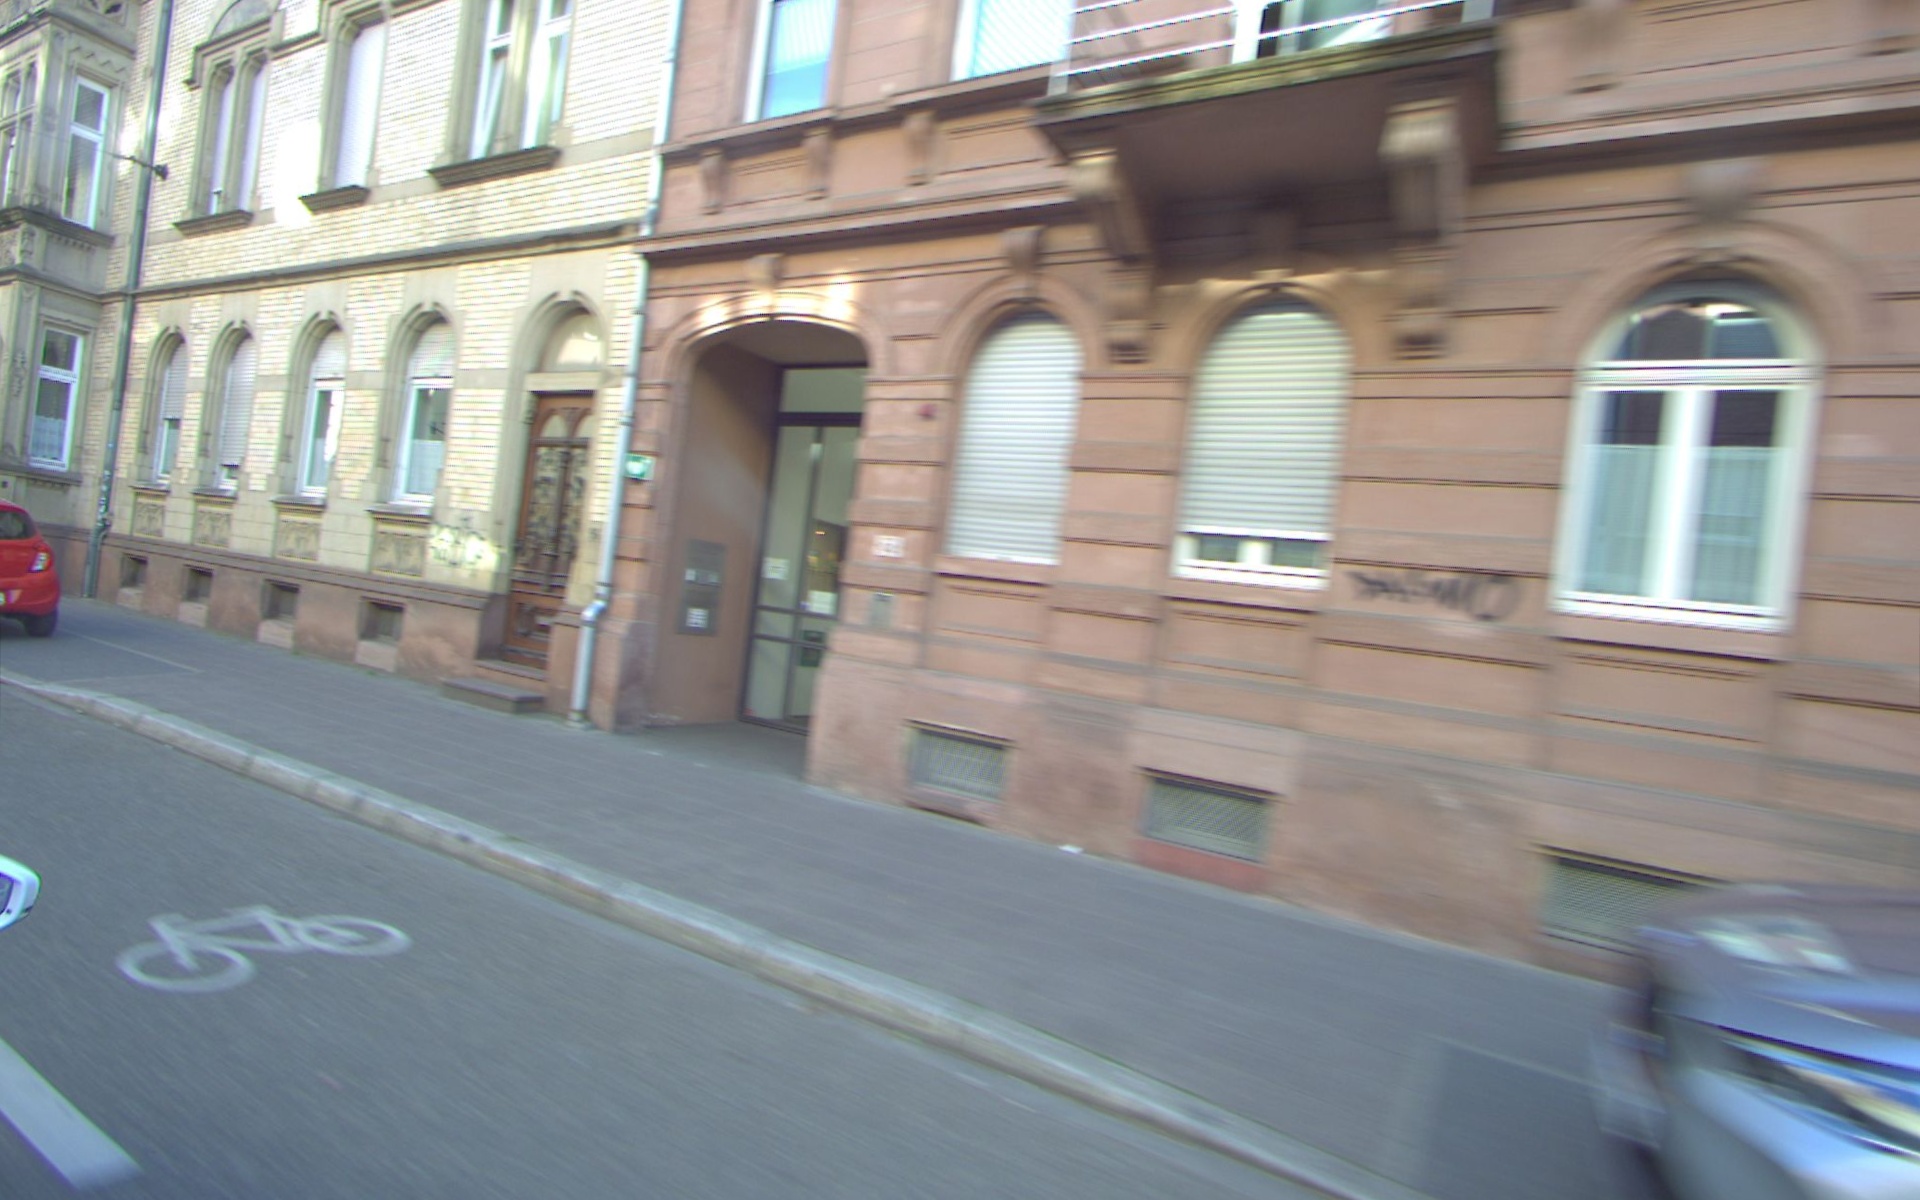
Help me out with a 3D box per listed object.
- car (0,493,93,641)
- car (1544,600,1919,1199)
[{"bbox_3d":[-11.769,-0.536,11.231,4.327,1.502,1.867,6,2,31],"label":"car"},{"bbox_3d":[3.641,1.128,1.700,4.324,1.665,1.871,6,-2,27],"label":"car"}]
